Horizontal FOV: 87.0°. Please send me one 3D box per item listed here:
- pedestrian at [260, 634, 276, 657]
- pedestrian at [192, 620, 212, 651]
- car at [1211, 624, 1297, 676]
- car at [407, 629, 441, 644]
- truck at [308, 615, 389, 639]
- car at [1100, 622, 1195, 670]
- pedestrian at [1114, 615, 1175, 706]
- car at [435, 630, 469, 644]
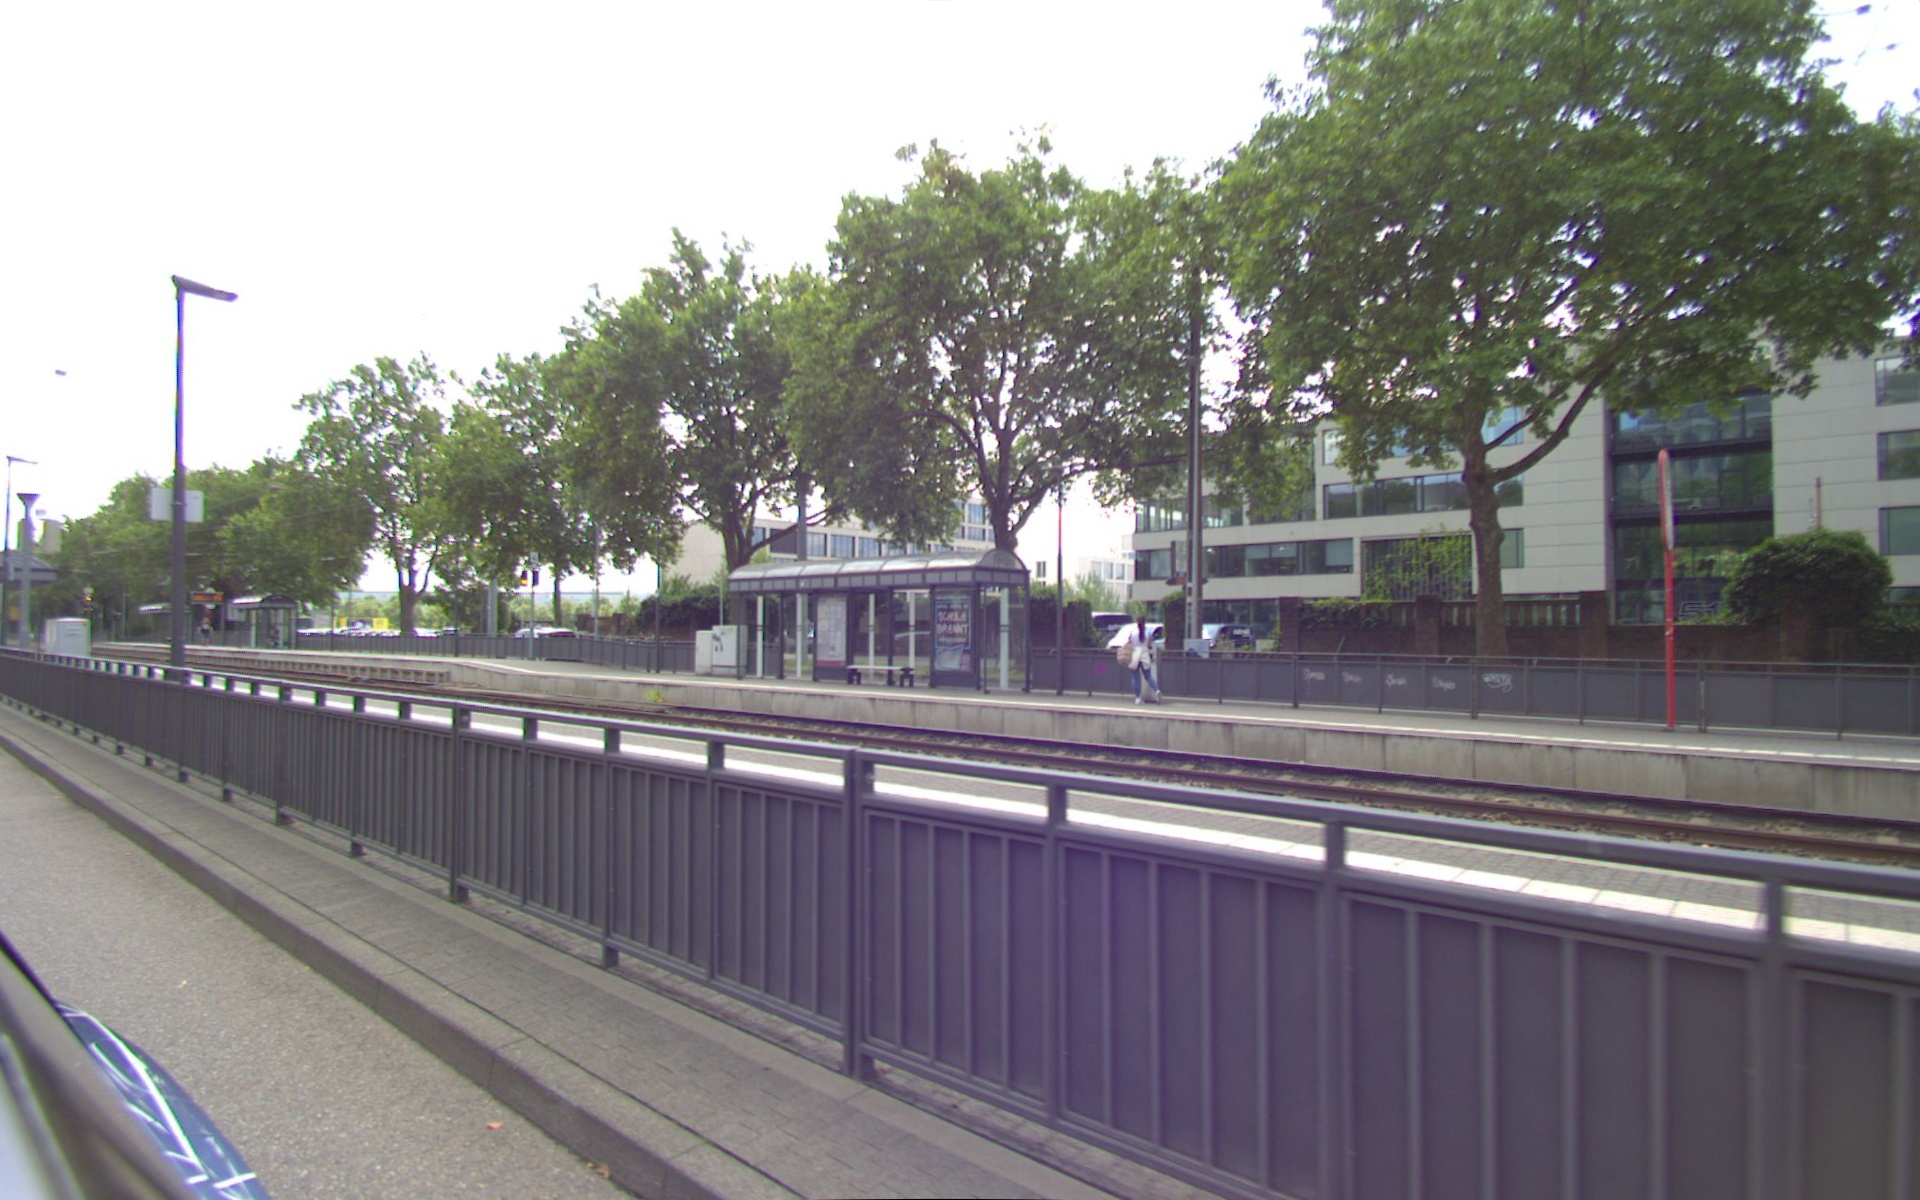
[{"bbox_3d":[-37.999,2.486,55.596,0.768,1.279,0.546,-2,-3,43],"label":"pedestrian"},{"bbox_3d":[-44.613,2.088,59.596,0.863,1.859,0.699,-2,-2,37],"label":"pedestrian"},{"bbox_3d":[12.315,2.104,42.244,1.959,2.049,4.094,-1,-4,41],"label":"car"},{"bbox_3d":[-54.818,3.700,103.440,3.998,1.487,1.779,-2,-3,42],"label":"car"},{"bbox_3d":[-114.785,5.127,190.276,2.748,4.105,12.647,-1,-4,43],"label":"truck"},{"bbox_3d":[8.278,2.048,44.437,1.936,2.004,4.774,-1,-4,41],"label":"car"},{"bbox_3d":[3.189,1.026,17.483,0.802,1.524,0.695,-1,-3,38],"label":"pedestrian"},{"bbox_3d":[-52.946,3.882,105.491,3.998,1.487,1.779,-2,-3,42],"label":"car"}]
